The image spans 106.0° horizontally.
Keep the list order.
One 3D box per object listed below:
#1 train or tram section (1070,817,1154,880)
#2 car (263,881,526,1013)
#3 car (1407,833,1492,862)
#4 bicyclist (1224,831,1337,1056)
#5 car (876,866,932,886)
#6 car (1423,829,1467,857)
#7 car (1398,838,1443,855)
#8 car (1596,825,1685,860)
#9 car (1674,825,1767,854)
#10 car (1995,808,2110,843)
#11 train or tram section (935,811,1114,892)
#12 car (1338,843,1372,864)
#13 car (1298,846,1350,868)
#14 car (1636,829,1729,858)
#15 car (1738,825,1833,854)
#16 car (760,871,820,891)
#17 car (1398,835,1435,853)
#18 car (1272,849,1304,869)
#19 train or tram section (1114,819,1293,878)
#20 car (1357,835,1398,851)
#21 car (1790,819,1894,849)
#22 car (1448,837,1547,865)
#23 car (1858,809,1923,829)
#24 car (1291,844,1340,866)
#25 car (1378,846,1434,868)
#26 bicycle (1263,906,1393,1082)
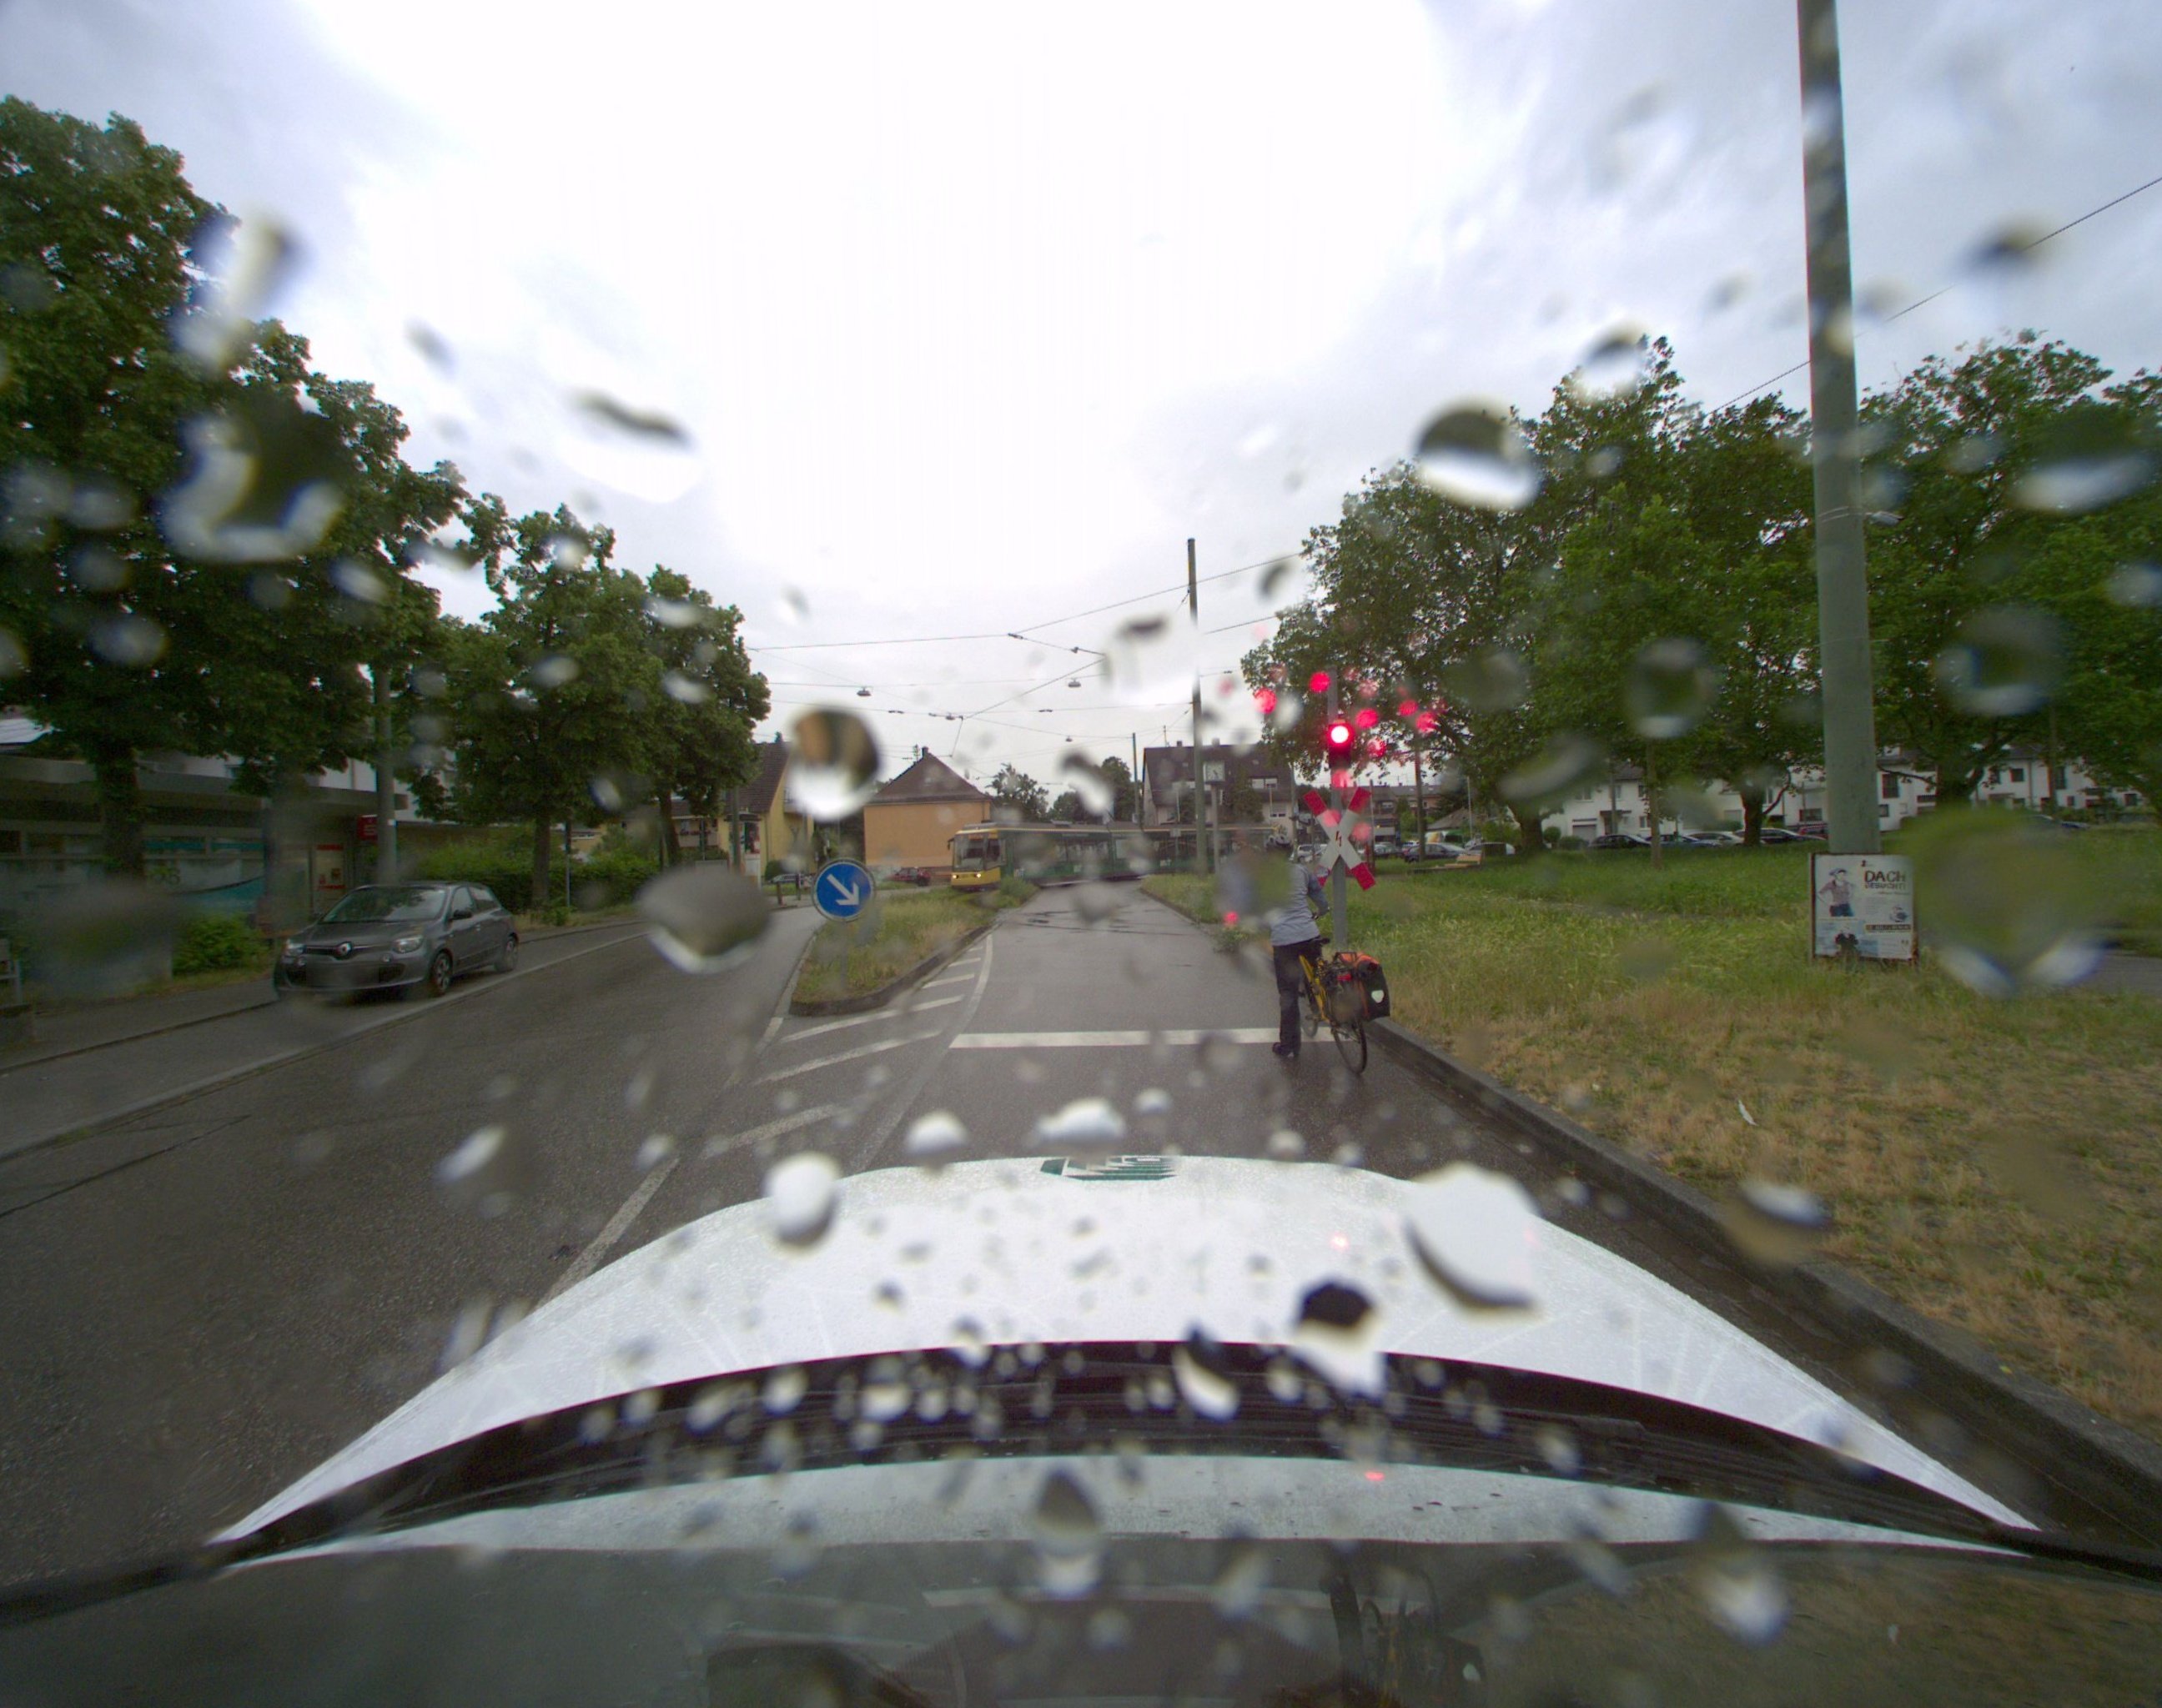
[{"bbox_3d":[1.932,-0.301,49.104,2.734,3.553,5.020,-1,0,34],"label":"train or tram section"},{"bbox_3d":[-9.685,1.197,11.872,1.621,1.496,3.645,0,-1,-18],"label":"car"},{"bbox_3d":[20.251,-0.316,44.899,1.821,1.495,3.867,0,-1,-44],"label":"car"},{"bbox_3d":[1.517,0.649,6.318,0.665,1.626,0.853,0,-1,0],"label":"bicyclist"},{"bbox_3d":[-13.670,1.675,63.065,3.980,1.456,1.831,0,-1,-5],"label":"car"},{"bbox_3d":[32.563,-0.967,72.993,1.987,2.443,4.354,0,-1,1],"label":"car"},{"bbox_3d":[35.412,-0.775,84.946,3.971,1.640,1.847,0,-1,2],"label":"car"},{"bbox_3d":[30.533,-0.608,44.532,1.821,1.798,3.721,0,-1,-44],"label":"car"},{"bbox_3d":[35.699,-0.752,45.521,1.821,1.495,3.867,0,-1,-44],"label":"car"},{"bbox_3d":[54.627,-1.580,45.862,1.815,1.765,3.878,0,-1,-29],"label":"car"},{"bbox_3d":[-2.398,-0.185,41.826,2.734,3.553,12.280,-1,0,30],"label":"train or tram section"},{"bbox_3d":[24.125,0.012,71.884,1.983,1.791,4.006,0,-1,6],"label":"car"},{"bbox_3d":[19.304,0.262,64.807,3.670,1.701,1.891,0,-1,2],"label":"car"},{"bbox_3d":[33.195,-0.534,44.991,1.821,1.495,3.867,0,-1,-44],"label":"car"},{"bbox_3d":[39.257,-0.780,45.409,1.821,1.495,3.867,0,-1,-44],"label":"car"},{"bbox_3d":[-22.116,2.057,62.019,3.980,1.456,1.831,0,-1,-5],"label":"car"},{"bbox_3d":[39.108,-1.095,95.039,1.998,2.014,3.978,0,-1,-16],"label":"car"},{"bbox_3d":[17.966,0.443,70.701,1.823,1.640,4.024,-1,-1,27],"label":"car"},{"bbox_3d":[8.390,-0.471,54.089,13.181,3.553,2.741,-2,0,-33],"label":"train or tram section"},{"bbox_3d":[33.130,-1.229,91.036,3.968,1.791,2.002,0,-1,4],"label":"car"},{"bbox_3d":[42.620,-1.088,45.683,1.814,1.495,3.881,0,-1,-27],"label":"car"},{"bbox_3d":[20.498,-0.124,40.245,3.964,1.285,1.851,-1,-1,8],"label":"car"},{"bbox_3d":[69.987,-3.005,70.457,3.670,1.660,1.891,0,-1,2],"label":"car"},{"bbox_3d":[21.799,0.090,75.926,3.974,1.951,1.999,0,-1,-1],"label":"car"},{"bbox_3d":[25.885,0.214,64.952,3.670,1.701,1.891,0,-1,2],"label":"car"},{"bbox_3d":[1.792,0.959,6.133,0.444,1.004,1.728,-2,0,1],"label":"bicycle"}]
